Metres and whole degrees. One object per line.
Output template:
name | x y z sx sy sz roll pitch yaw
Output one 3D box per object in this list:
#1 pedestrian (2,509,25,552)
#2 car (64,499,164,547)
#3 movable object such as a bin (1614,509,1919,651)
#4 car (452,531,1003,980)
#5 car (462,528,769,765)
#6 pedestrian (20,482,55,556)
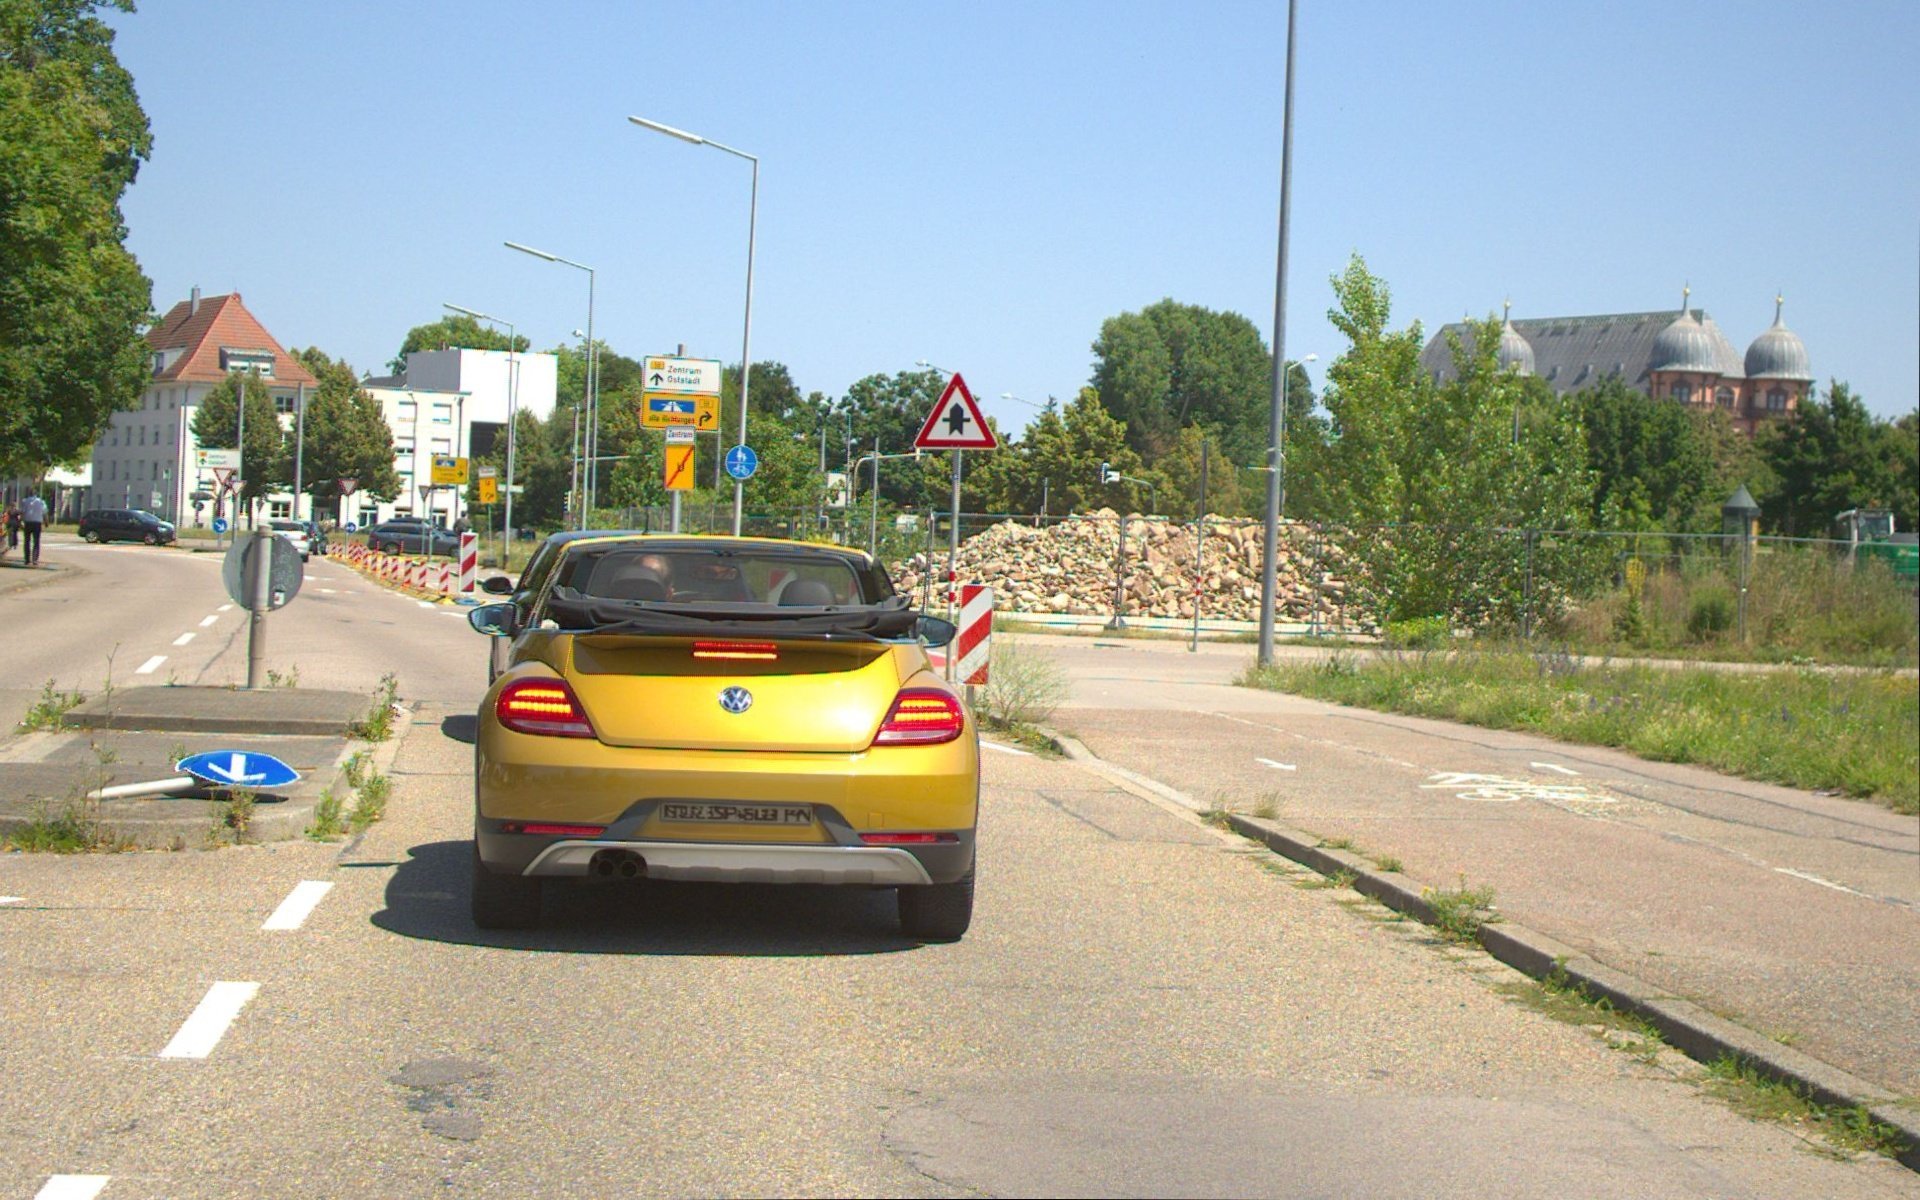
pedestrian | -32.632 -2.400 118.562 0.722 1.449 0.818 2 1 -16
car | -38.052 -3.449 154.684 3.986 2.007 2.000 2 1 -3
movable object such as a bin | 20.999 -0.547 86.639 4.937 3.249 10.472 2 1 -13
car | -1.016 0.492 13.384 1.789 1.432 3.815 2 1 -8
car | -2.441 0.258 23.556 1.726 1.438 4.001 2 1 -10
pedestrian | -21.744 -1.914 81.023 0.722 1.719 0.818 2 1 -16
